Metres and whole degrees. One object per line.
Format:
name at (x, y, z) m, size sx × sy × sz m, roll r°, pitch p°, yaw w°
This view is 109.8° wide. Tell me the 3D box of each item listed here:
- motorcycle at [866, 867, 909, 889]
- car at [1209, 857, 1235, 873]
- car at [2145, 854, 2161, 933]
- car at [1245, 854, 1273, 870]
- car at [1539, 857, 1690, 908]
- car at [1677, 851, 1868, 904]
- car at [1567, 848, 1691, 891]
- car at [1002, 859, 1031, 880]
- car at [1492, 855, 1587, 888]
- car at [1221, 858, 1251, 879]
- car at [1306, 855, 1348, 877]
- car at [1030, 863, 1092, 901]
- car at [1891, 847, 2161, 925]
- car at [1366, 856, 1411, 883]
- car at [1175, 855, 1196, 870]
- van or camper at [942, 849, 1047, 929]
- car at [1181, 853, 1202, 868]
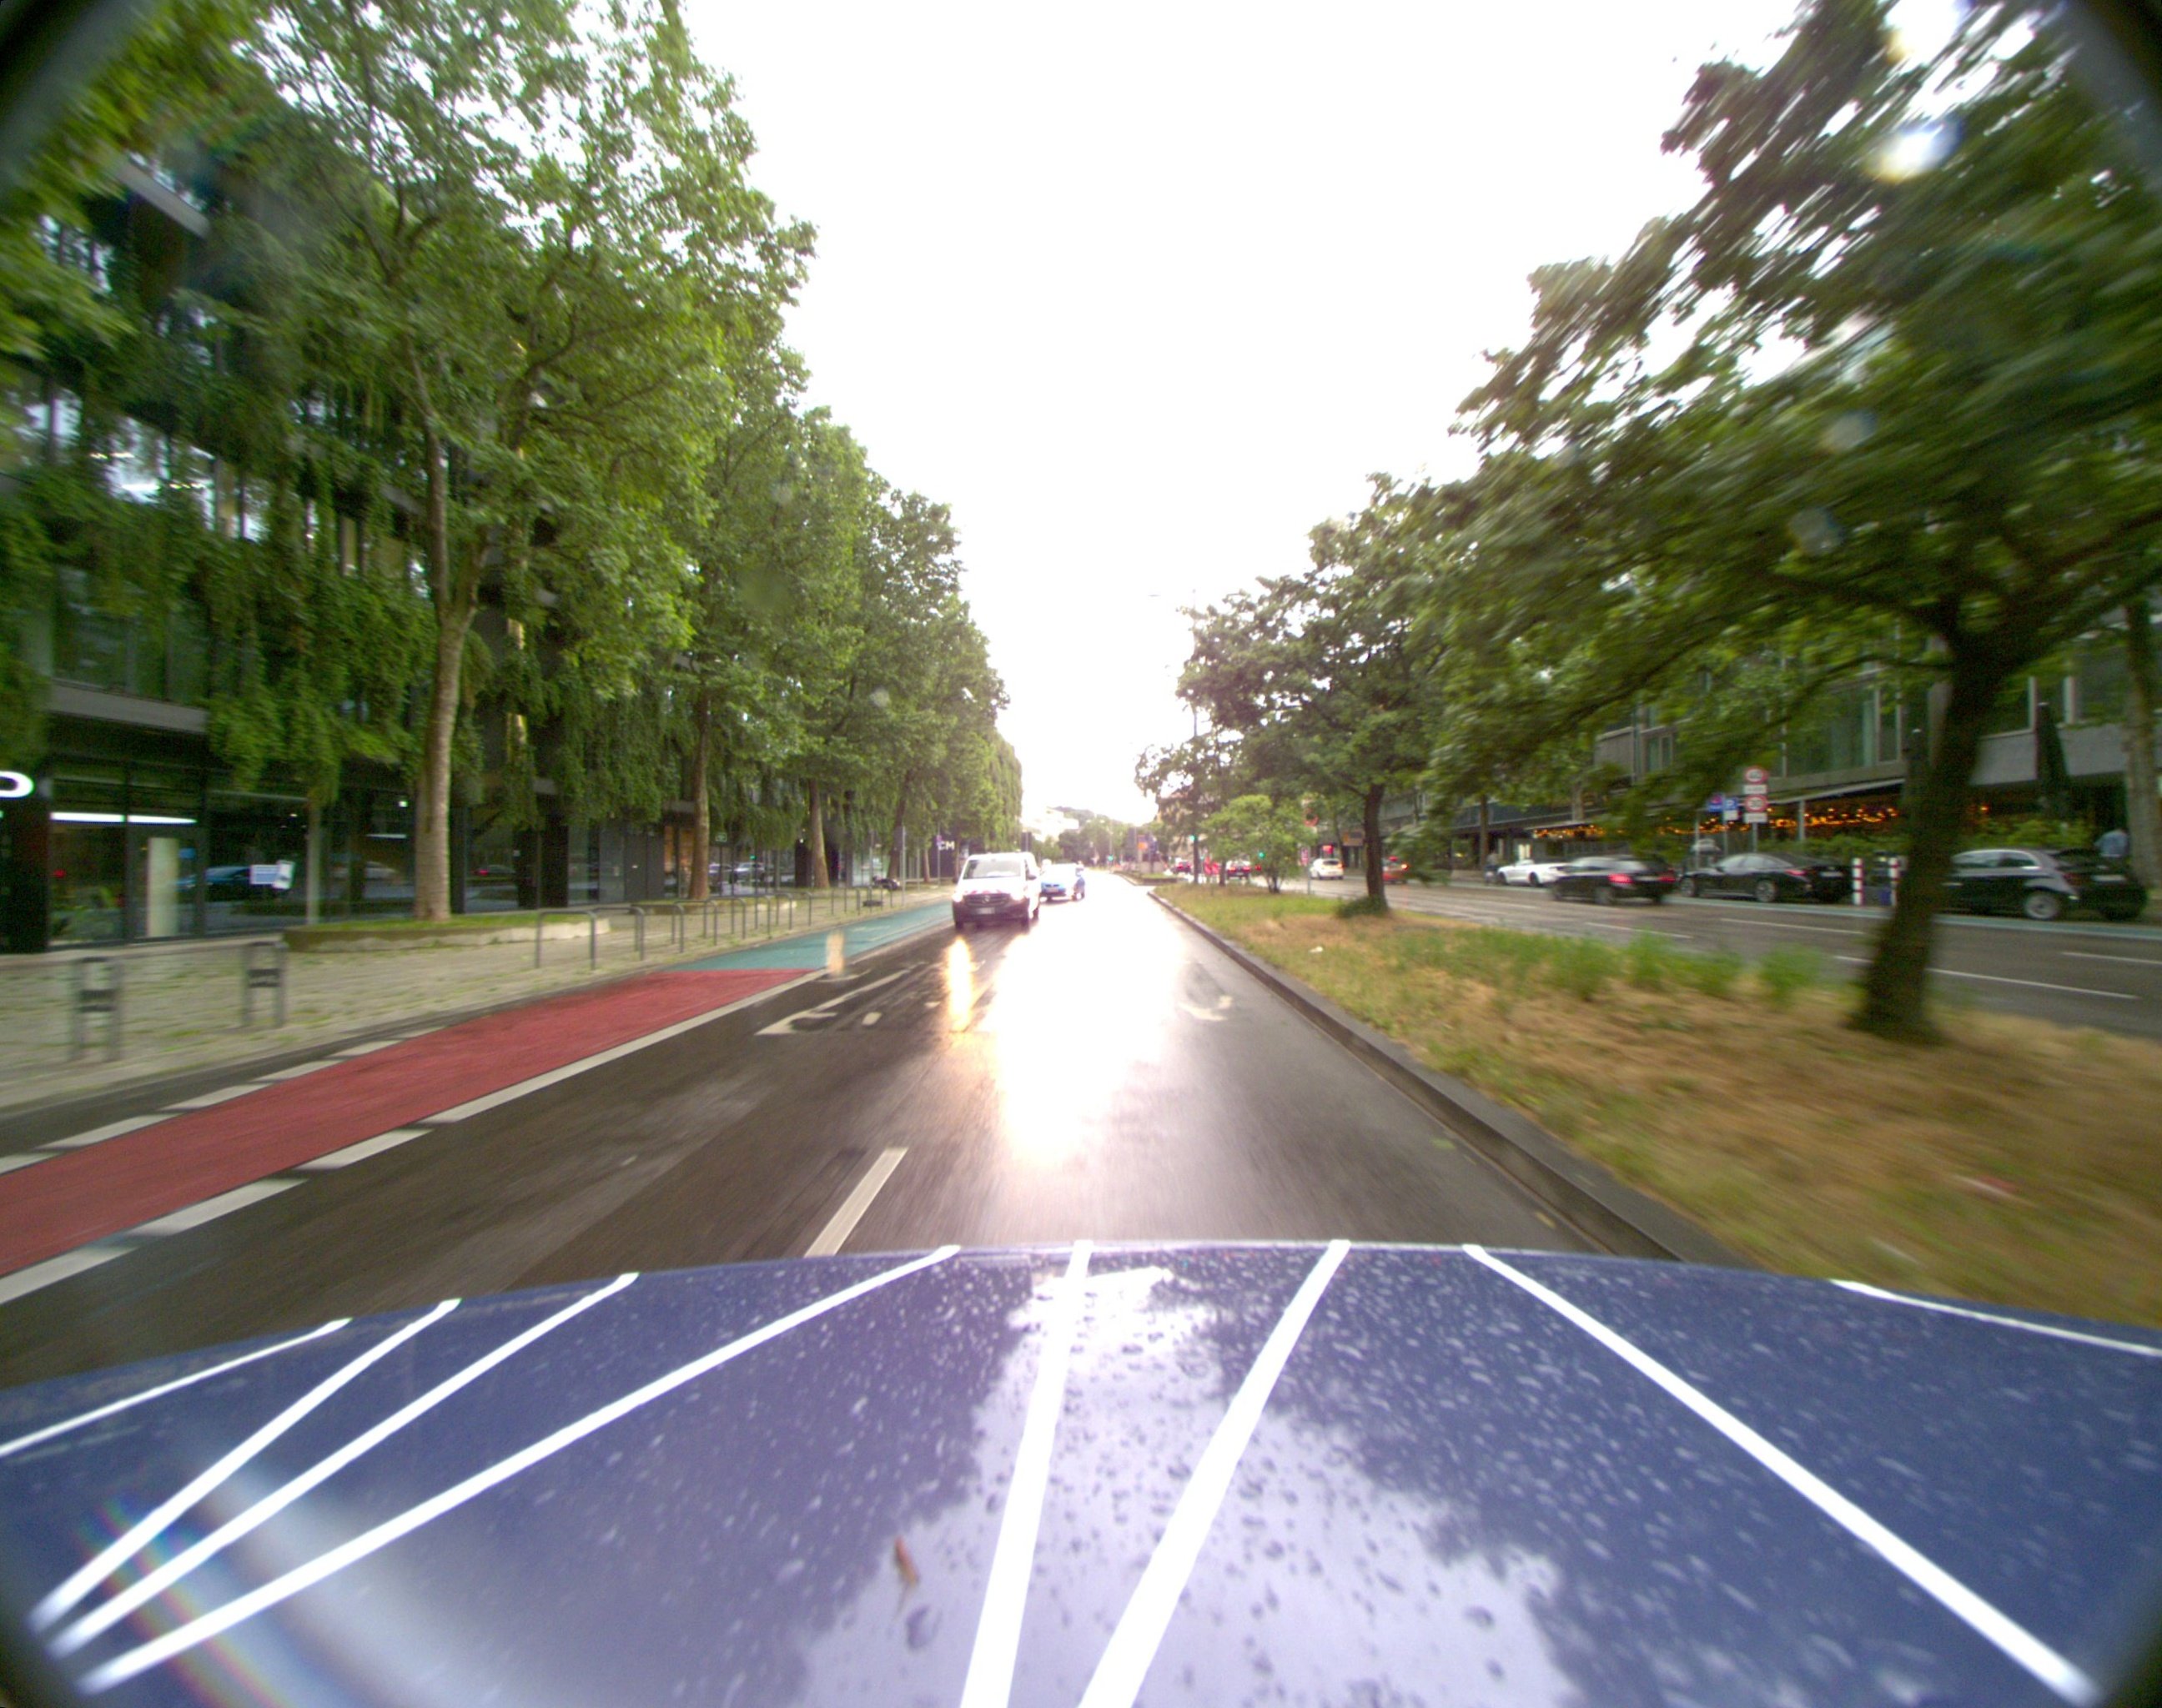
motorcycle at (-11.785, 1.471, 46.413) m, size 2.313 × 1.263 × 1.053 m, roll -2°, pitch 0°, yaw 1°
car at (12.864, 0.977, 69.466) m, size 1.754 × 1.467 × 4.096 m, roll -1°, pitch 0°, yaw 2°
car at (19.855, 0.662, 11.186) m, size 1.697 × 1.400 × 4.906 m, roll -1°, pitch -1°, yaw 4°
car at (16.525, 0.708, 70.607) m, size 1.753 × 1.467 × 4.096 m, roll -1°, pitch 0°, yaw 2°
car at (16.108, 0.824, 23.221) m, size 1.848 × 1.381 × 4.001 m, roll -1°, pitch -1°, yaw 2°
car at (20.246, 0.666, 22.555) m, size 1.697 × 1.400 × 4.457 m, roll -1°, pitch -1°, yaw 2°
car at (20.583, 0.574, 28.764) m, size 1.841 × 1.499 × 4.001 m, roll -1°, pitch -1°, yaw 2°
car at (-5.682, 1.352, 67.518) m, size 1.847 × 1.827 × 5.096 m, roll 0°, pitch -1°, yaw 4°
car at (20.566, 0.780, 34.335) m, size 1.563 × 1.345 × 4.684 m, roll -2°, pitch -1°, yaw 2°
car at (12.240, 1.123, 60.145) m, size 1.753 × 1.467 × 4.096 m, roll -2°, pitch 0°, yaw 3°
car at (17.291, 0.852, 53.622) m, size 1.848 × 1.420 × 3.643 m, roll -1°, pitch -1°, yaw 2°
car at (-0.774, 1.165, 32.239) m, size 1.847 × 1.473 × 4.400 m, roll -2°, pitch -1°, yaw 9°
car at (19.985, 0.631, 16.236) m, size 1.697 × 1.459 × 3.460 m, roll -1°, pitch -1°, yaw 2°
car at (17.187, 0.844, 42.554) m, size 1.497 × 1.454 × 2.732 m, roll -1°, pitch 0°, yaw 3°
car at (13.118, 1.046, 95.643) m, size 1.840 × 1.756 × 5.109 m, roll -1°, pitch -1°, yaw 0°
van or camper at (-2.216, 0.878, 21.016) m, size 1.998 × 1.902 × 5.253 m, roll -1°, pitch -1°, yaw 3°
car at (11.849, 0.684, 81.923) m, size 1.739 × 1.564 × 4.833 m, roll -1°, pitch -1°, yaw 2°
